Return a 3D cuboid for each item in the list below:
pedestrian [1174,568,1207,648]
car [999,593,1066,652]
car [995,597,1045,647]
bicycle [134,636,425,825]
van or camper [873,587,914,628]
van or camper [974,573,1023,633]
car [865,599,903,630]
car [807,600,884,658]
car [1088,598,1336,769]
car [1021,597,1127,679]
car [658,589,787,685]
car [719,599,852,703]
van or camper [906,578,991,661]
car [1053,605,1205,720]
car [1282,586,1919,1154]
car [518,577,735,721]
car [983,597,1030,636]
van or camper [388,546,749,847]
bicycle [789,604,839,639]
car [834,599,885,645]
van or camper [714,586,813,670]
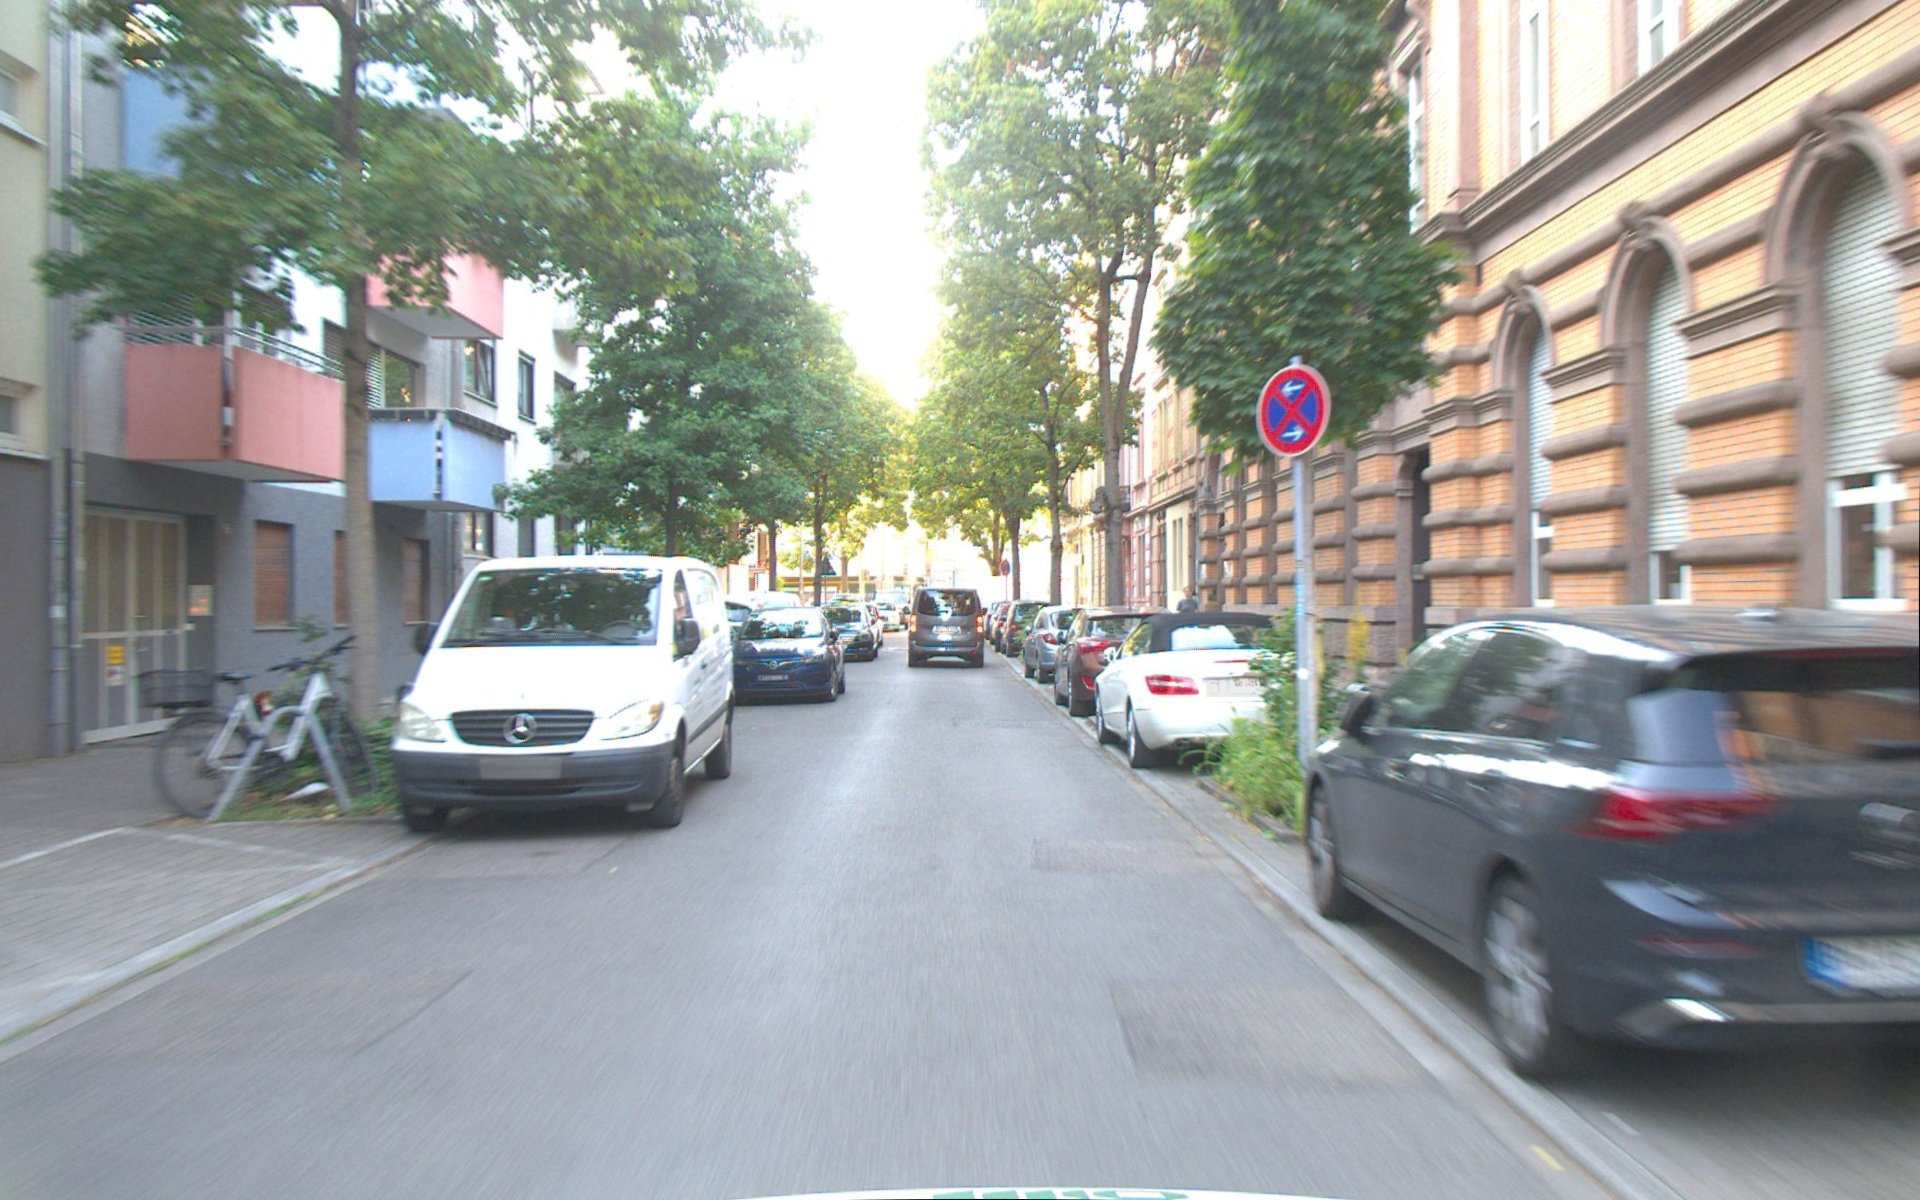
[{"bbox_3d":[4.900,0.176,35.134,0.614,1.677,0.532,0,0,0],"label":"pedestrian"},{"bbox_3d":[2.062,0.623,47.817,1.579,1.586,3.764,-1,0,-2],"label":"car"},{"bbox_3d":[1.900,0.674,52.112,1.518,1.523,3.611,0,0,2],"label":"car"},{"bbox_3d":[-4.815,0.880,11.803,0.686,1.184,1.813,-1,0,41],"label":"bicycle"},{"bbox_3d":[-3.388,0.368,84.726,1.824,2.018,4.271,-1,0,1],"label":"van or camper"},{"bbox_3d":[1.725,0.137,75.820,1.953,2.644,5.422,0,0,-2],"label":"van or camper"},{"bbox_3d":[-3.649,0.680,79.618,1.706,1.429,3.374,-1,0,-1],"label":"car"},{"bbox_3d":[-3.089,0.757,45.249,1.809,1.477,4.502,0,0,0],"label":"car"},{"bbox_3d":[2.350,0.717,16.571,1.659,1.426,4.645,-1,0,-1],"label":"car"},{"bbox_3d":[2.265,0.733,33.824,1.663,1.508,3.998,-2,0,-3],"label":"car"},{"bbox_3d":[-4.712,0.679,33.461,1.993,1.701,4.646,3,0,-2],"label":"car"},{"bbox_3d":[-2.770,0.773,27.084,1.793,1.544,4.515,0,0,-1],"label":"car"},{"bbox_3d":[-0.225,0.454,41.037,1.993,1.931,4.271,0,0,1],"label":"van or camper"},{"bbox_3d":[2.340,0.838,23.906,1.687,1.475,4.214,-1,0,-1],"label":"car"},{"bbox_3d":[2.558,0.709,6.510,1.677,1.503,4.191,0,0,-1],"label":"car"},{"bbox_3d":[-4.336,0.588,22.327,1.953,1.675,4.921,2,0,-1],"label":"car"},{"bbox_3d":[1.808,0.627,64.839,1.714,1.497,3.775,0,0,0],"label":"car"},{"bbox_3d":[-2.778,0.596,12.845,1.839,1.875,4.750,-1,0,-2],"label":"van or camper"},{"bbox_3d":[-5.256,0.773,59.568,0.595,1.216,1.816,2,1,44],"label":"bicycle"},{"bbox_3d":[-3.331,0.717,55.232,1.597,1.455,3.541,-1,0,-2],"label":"car"},{"bbox_3d":[-4.600,0.622,39.305,1.892,1.790,4.464,3,0,-2],"label":"van or camper"}]
